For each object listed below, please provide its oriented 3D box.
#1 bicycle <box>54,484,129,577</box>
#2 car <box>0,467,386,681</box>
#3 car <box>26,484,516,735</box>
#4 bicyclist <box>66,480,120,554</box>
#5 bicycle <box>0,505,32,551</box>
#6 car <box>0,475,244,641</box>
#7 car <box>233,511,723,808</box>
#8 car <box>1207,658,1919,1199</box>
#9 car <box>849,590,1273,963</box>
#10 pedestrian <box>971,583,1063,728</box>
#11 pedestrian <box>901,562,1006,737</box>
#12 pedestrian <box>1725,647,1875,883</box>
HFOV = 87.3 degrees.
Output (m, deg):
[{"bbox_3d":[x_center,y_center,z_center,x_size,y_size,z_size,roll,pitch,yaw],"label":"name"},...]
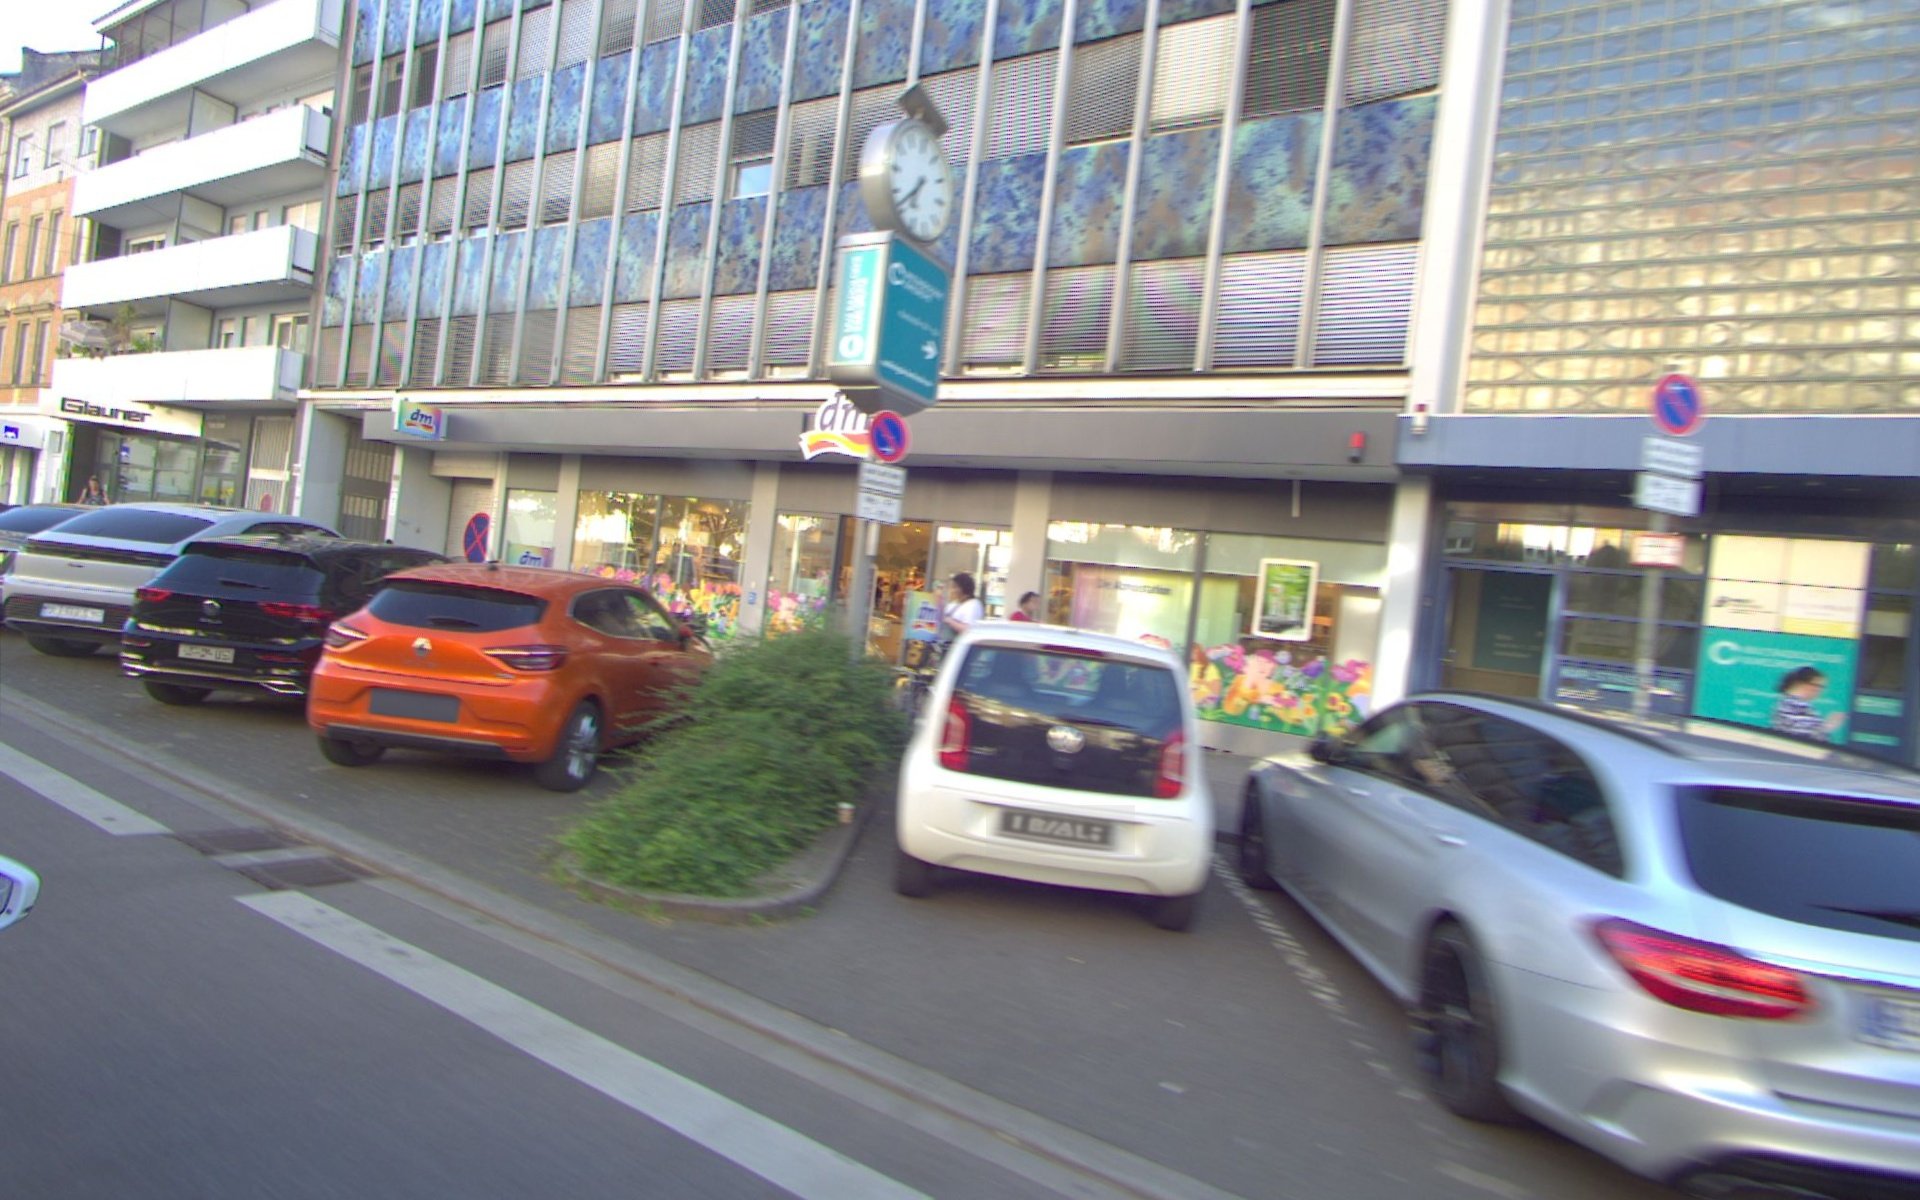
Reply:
[{"bbox_3d":[-20.775,-1.684,24.048,2.323,2.037,0.728,6,-1,38],"label":"bicycle"},{"bbox_3d":[-8.082,-0.217,10.420,2.010,1.671,3.732,7,-1,-1],"label":"car"},{"bbox_3d":[-5.664,0.121,8.889,1.790,1.573,3.454,7,-1,0],"label":"car"},{"bbox_3d":[-20.719,-1.971,24.044,0.520,1.642,0.732,7,-1,37],"label":"bicyclist"},{"bbox_3d":[-23.672,-1.836,24.219,1.781,1.060,0.553,8,-1,-18],"label":"bicycle"},{"bbox_3d":[-10.520,-0.481,11.907,1.655,1.659,3.451,7,-1,-5],"label":"car"},{"bbox_3d":[-3.316,0.413,7.880,1.932,1.538,3.732,7,-2,-1],"label":"car"},{"bbox_3d":[2.470,1.180,4.725,1.507,1.525,4.457,7,-2,2],"label":"car"},{"bbox_3d":[0.534,0.880,6.575,1.804,1.504,3.789,7,-2,2],"label":"car"},{"bbox_3d":[0.681,0.662,11.919,0.667,1.606,0.694,7,-1,31],"label":"pedestrian"},{"bbox_3d":[-0.064,0.534,10.862,0.667,1.777,0.694,7,-1,31],"label":"pedestrian"},{"bbox_3d":[7.129,1.367,8.583,0.715,1.827,0.720,7,-1,32],"label":"pedestrian"}]
